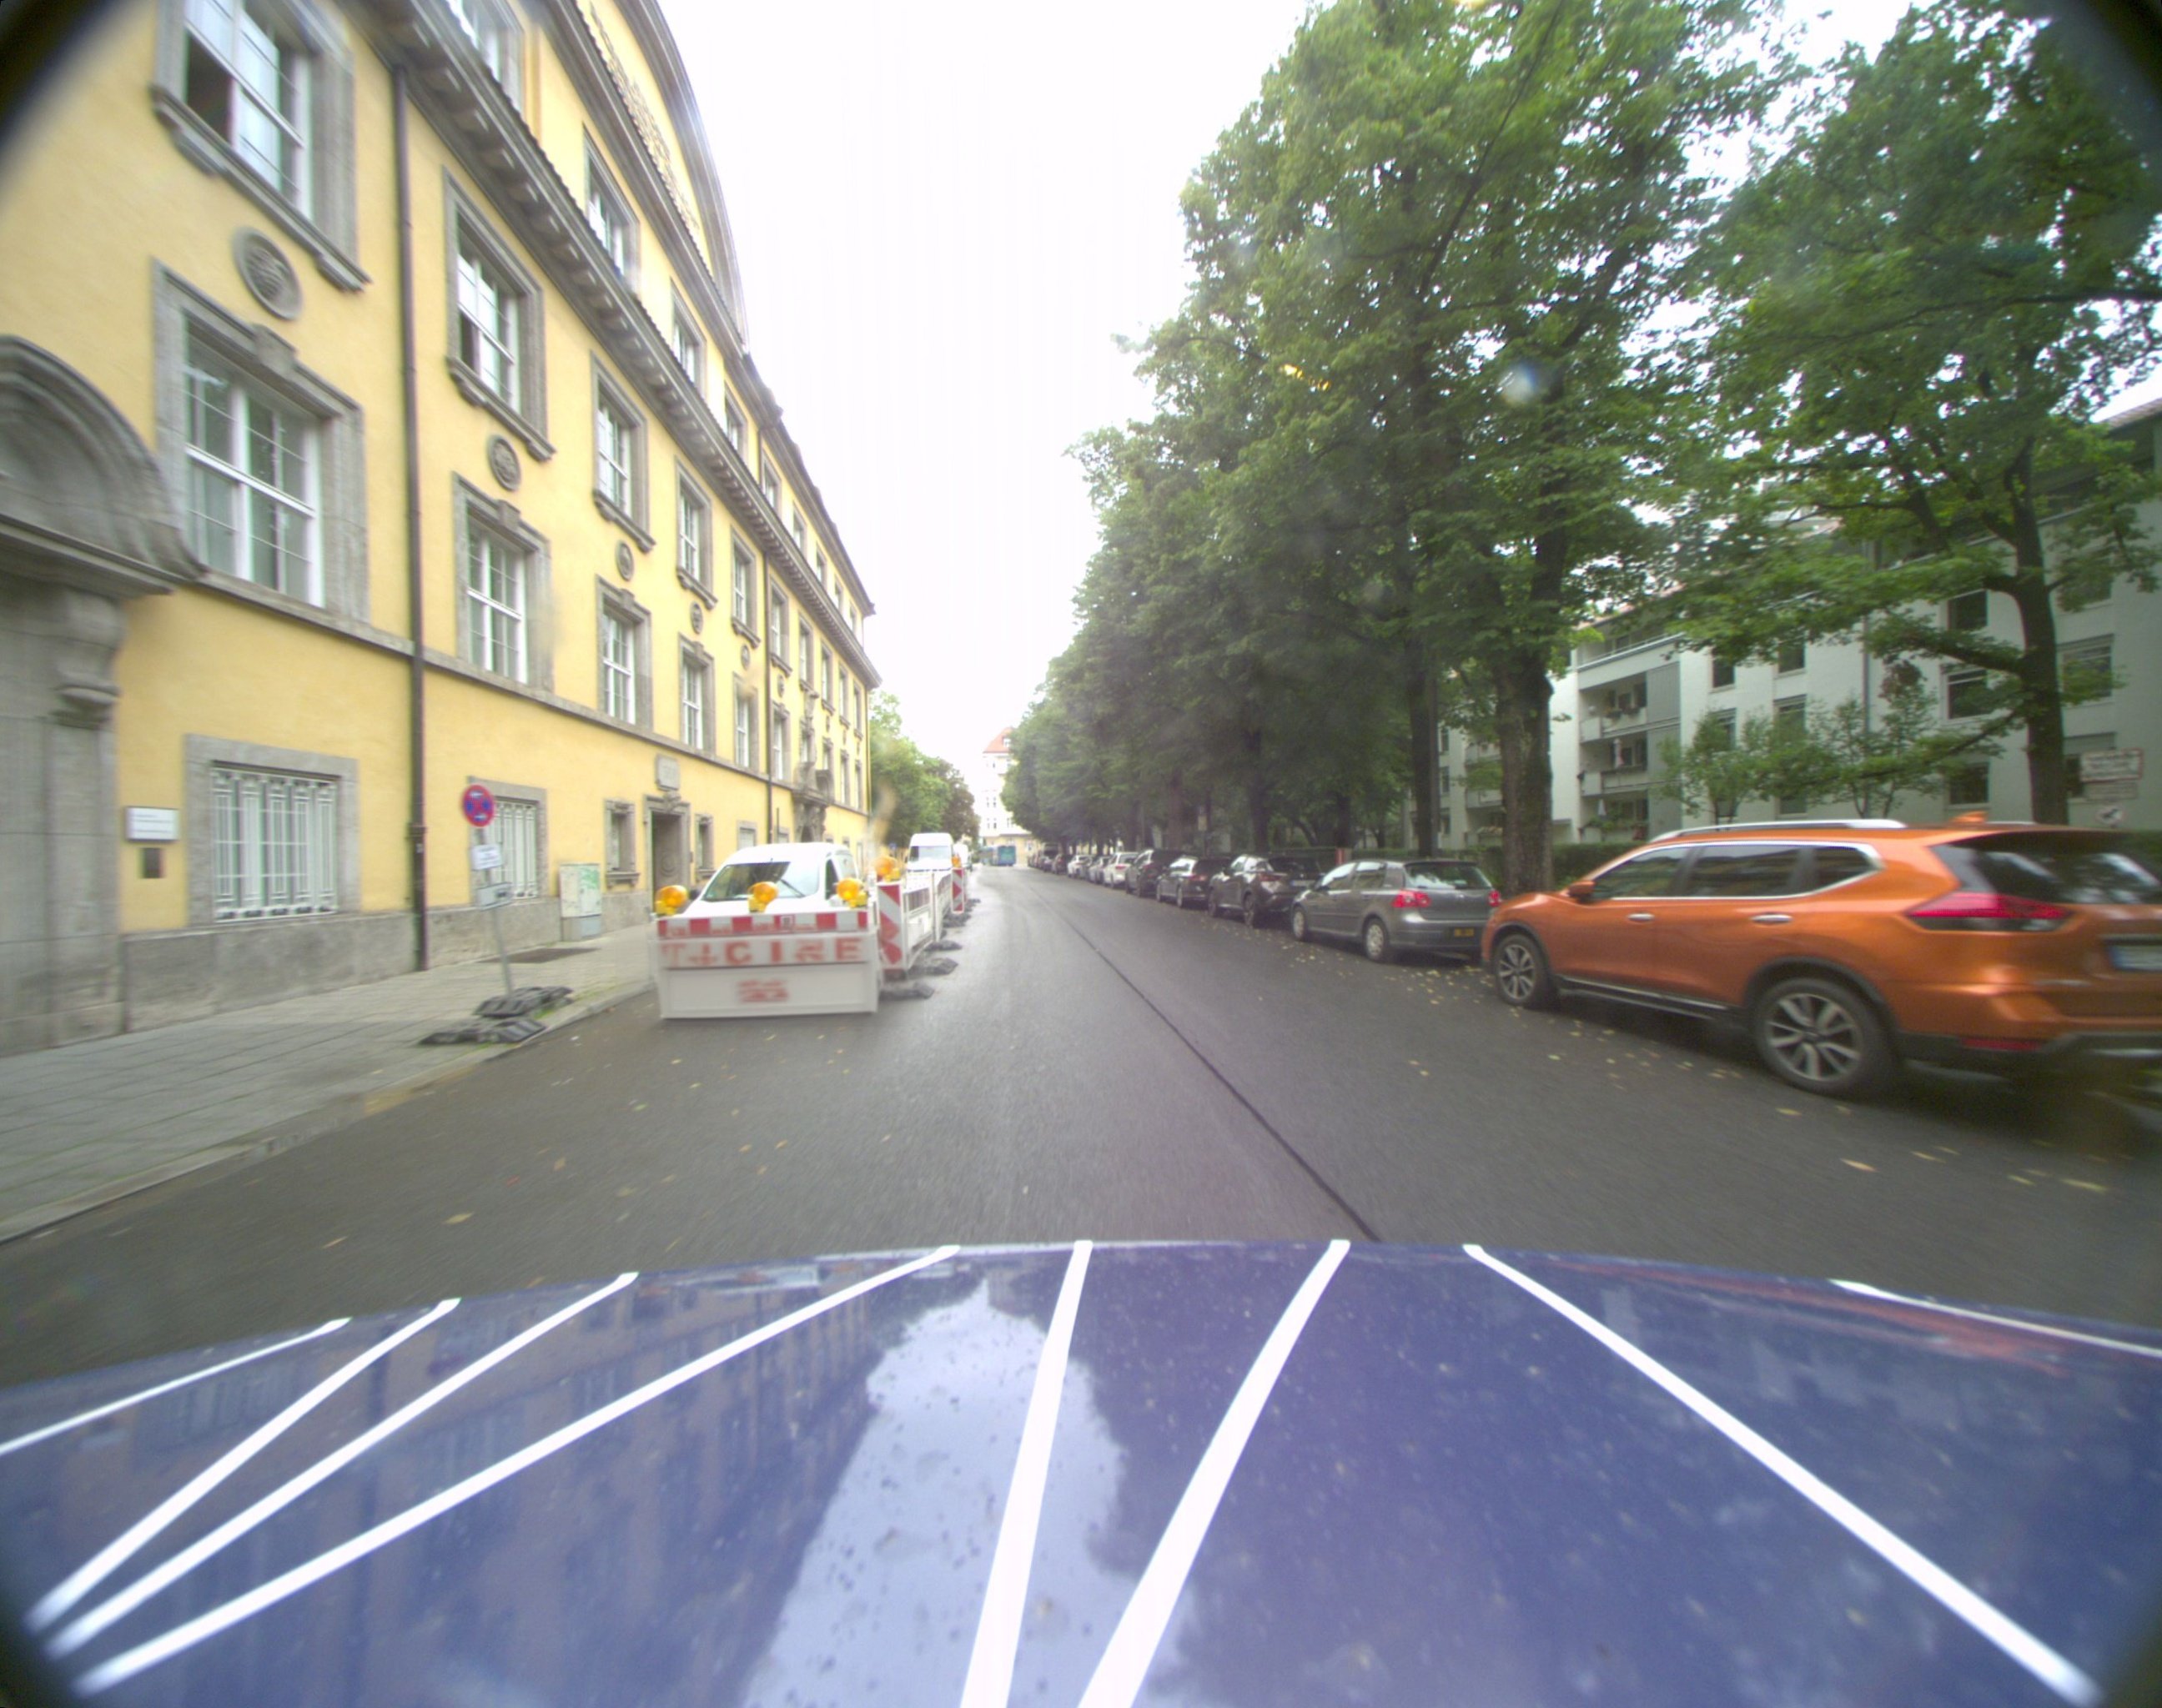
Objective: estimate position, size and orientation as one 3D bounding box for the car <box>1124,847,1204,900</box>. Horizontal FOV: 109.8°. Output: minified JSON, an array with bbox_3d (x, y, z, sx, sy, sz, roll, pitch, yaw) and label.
[{"bbox_3d":[2.925,0.635,28.010,1.999,1.786,4.917,0,1,-5],"label":"car"}]

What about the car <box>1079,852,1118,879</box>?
[{"bbox_3d":[0.994,0.672,45.146,1.677,1.461,4.100,-1,1,-8],"label":"car"}]

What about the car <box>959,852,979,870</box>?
[{"bbox_3d":[-11.470,0.698,77.847,1.864,1.731,4.599,-2,1,-7],"label":"car"}]

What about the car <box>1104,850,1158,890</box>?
[{"bbox_3d":[2.195,0.674,34.740,1.770,1.612,4.520,1,1,-5],"label":"car"}]

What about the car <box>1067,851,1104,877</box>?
[{"bbox_3d":[0.264,0.643,50.523,1.790,1.588,4.580,-1,1,-8],"label":"car"}]

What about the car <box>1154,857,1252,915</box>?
[{"bbox_3d":[3.461,0.854,22.446,1.724,1.442,4.692,-1,1,-5],"label":"car"}]

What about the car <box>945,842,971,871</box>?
[{"bbox_3d":[-10.908,0.163,67.804,2.102,2.473,5.734,-1,1,-8],"label":"car"}]

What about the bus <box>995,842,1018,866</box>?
[{"bbox_3d":[-11.451,-0.146,115.563,2.868,3.221,18.409,-1,1,-7],"label":"bus"}]

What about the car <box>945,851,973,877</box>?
[{"bbox_3d":[-9.766,0.783,60.584,2.020,1.895,5.159,-2,1,-10],"label":"car"}]

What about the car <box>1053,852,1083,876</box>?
[{"bbox_3d":[-1.052,0.760,60.240,1.790,1.866,4.544,1,0,-8],"label":"car"}]

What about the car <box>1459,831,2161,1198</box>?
[{"bbox_3d":[5.203,0.723,5.956,1.878,1.718,4.638,-1,1,-5],"label":"car"}]

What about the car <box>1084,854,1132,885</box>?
[{"bbox_3d":[1.342,0.770,40.154,1.815,1.461,4.993,-1,1,-7],"label":"car"}]

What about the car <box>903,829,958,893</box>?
[{"bbox_3d":[-6.848,0.243,35.334,2.061,2.657,7.607,-1,1,-8],"label":"car"}]

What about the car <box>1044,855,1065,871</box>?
[{"bbox_3d":[-2.450,0.838,69.771,1.795,1.429,4.550,-1,0,-4],"label":"car"}]

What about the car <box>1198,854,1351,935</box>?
[{"bbox_3d":[4.104,0.784,16.954,1.792,1.565,4.483,0,0,-7],"label":"car"}]

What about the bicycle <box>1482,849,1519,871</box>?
[{"bbox_3d":[22.430,0.324,40.628,0.642,1.101,1.901,-2,0,-10],"label":"bicycle"}]

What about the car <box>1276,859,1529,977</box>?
[{"bbox_3d":[4.660,0.827,11.790,1.733,1.414,4.248,-1,0,-7],"label":"car"}]

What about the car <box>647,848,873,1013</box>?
[{"bbox_3d":[-4.135,0.825,10.598,1.745,1.740,4.352,-1,1,-7],"label":"car"}]

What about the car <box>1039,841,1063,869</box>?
[{"bbox_3d":[-3.247,0.025,81.795,1.951,2.838,6.230,-1,1,-8],"label":"car"}]

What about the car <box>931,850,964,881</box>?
[{"bbox_3d":[-8.592,0.675,49.140,1.877,1.858,4.982,-1,1,-8],"label":"car"}]
